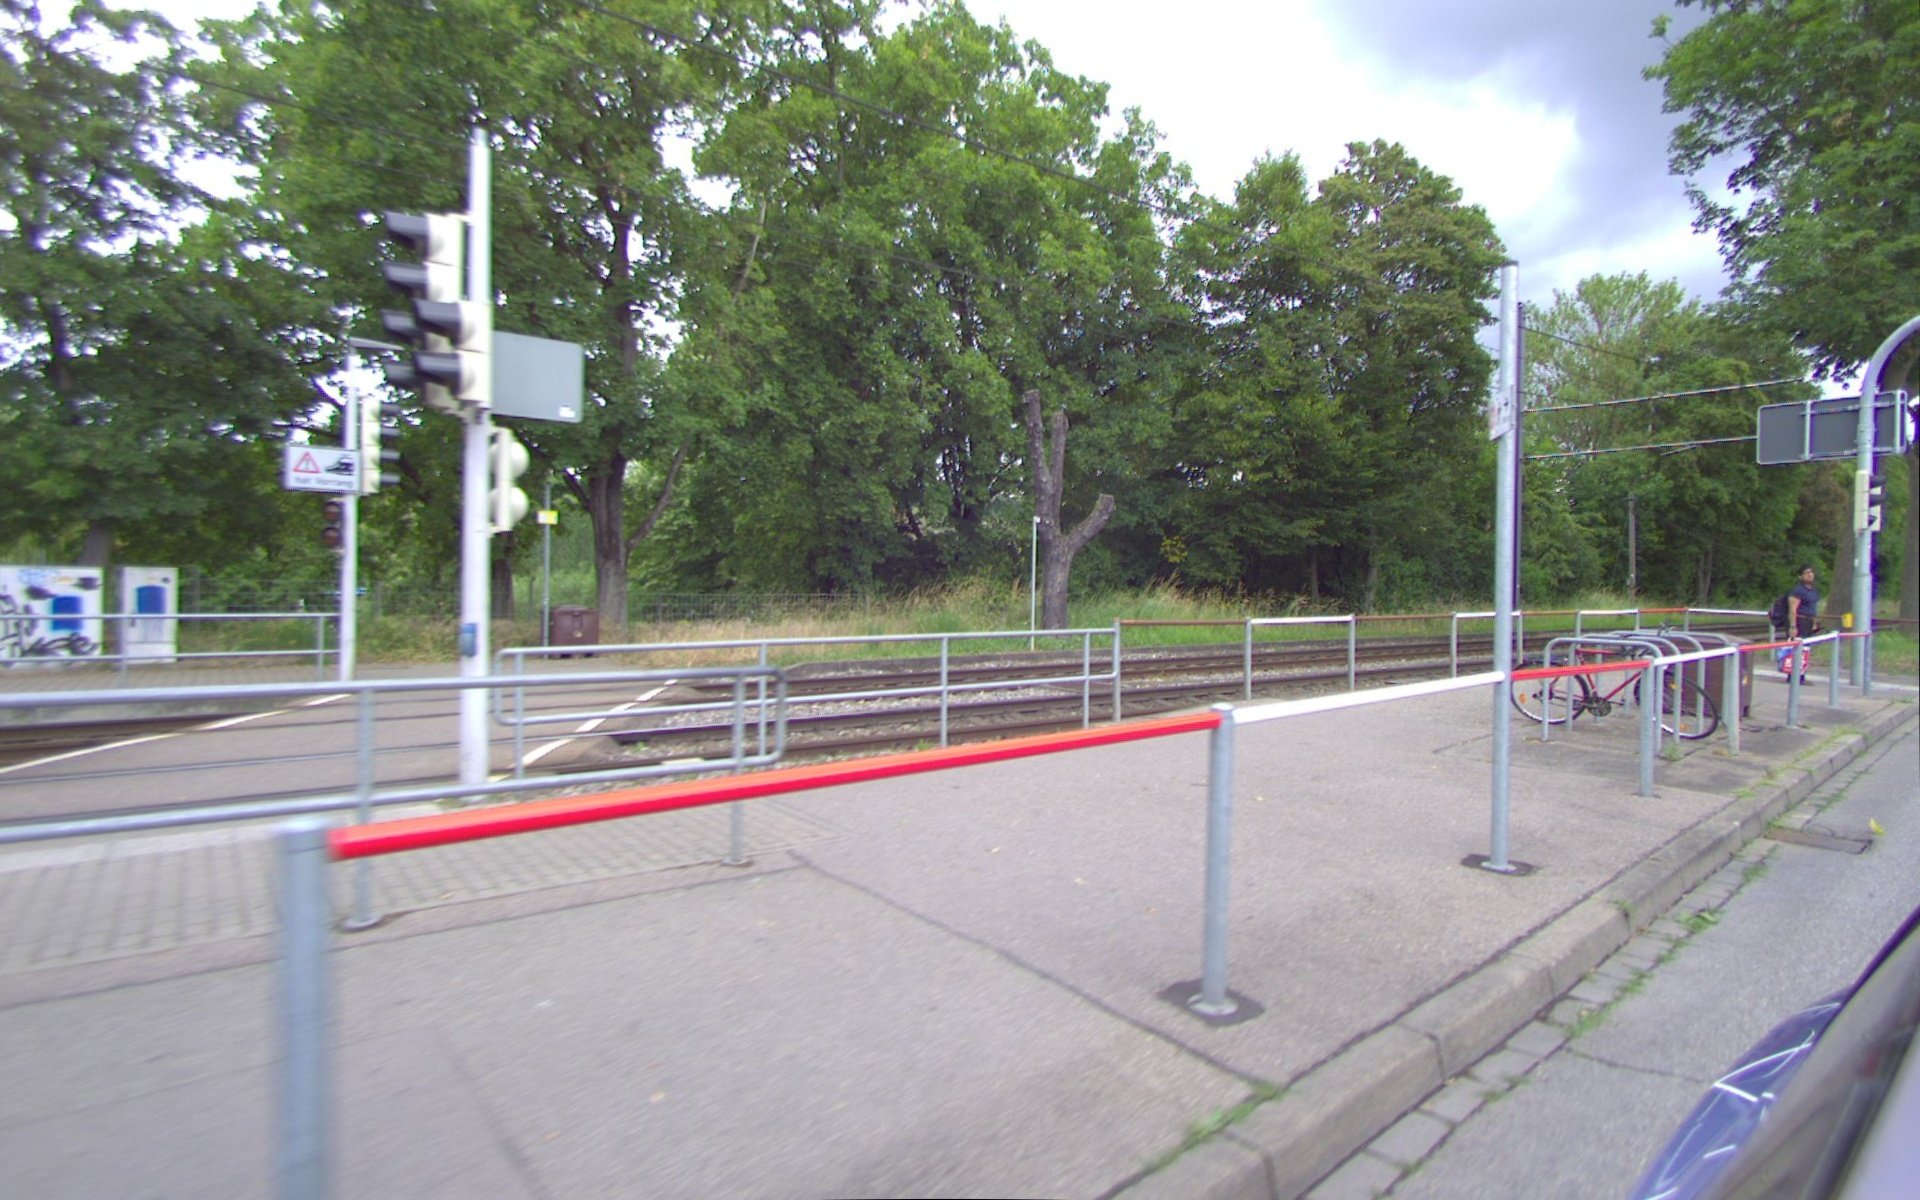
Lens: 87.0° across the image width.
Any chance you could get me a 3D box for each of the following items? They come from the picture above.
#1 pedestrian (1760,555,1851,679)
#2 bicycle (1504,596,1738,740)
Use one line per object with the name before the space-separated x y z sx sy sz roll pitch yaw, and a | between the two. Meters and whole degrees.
pedestrian | 12.568 0.223 15.048 0.823 1.758 0.755 0 3 -33
bicycle | 6.084 0.576 9.401 0.592 1.103 1.678 -1 4 -41
